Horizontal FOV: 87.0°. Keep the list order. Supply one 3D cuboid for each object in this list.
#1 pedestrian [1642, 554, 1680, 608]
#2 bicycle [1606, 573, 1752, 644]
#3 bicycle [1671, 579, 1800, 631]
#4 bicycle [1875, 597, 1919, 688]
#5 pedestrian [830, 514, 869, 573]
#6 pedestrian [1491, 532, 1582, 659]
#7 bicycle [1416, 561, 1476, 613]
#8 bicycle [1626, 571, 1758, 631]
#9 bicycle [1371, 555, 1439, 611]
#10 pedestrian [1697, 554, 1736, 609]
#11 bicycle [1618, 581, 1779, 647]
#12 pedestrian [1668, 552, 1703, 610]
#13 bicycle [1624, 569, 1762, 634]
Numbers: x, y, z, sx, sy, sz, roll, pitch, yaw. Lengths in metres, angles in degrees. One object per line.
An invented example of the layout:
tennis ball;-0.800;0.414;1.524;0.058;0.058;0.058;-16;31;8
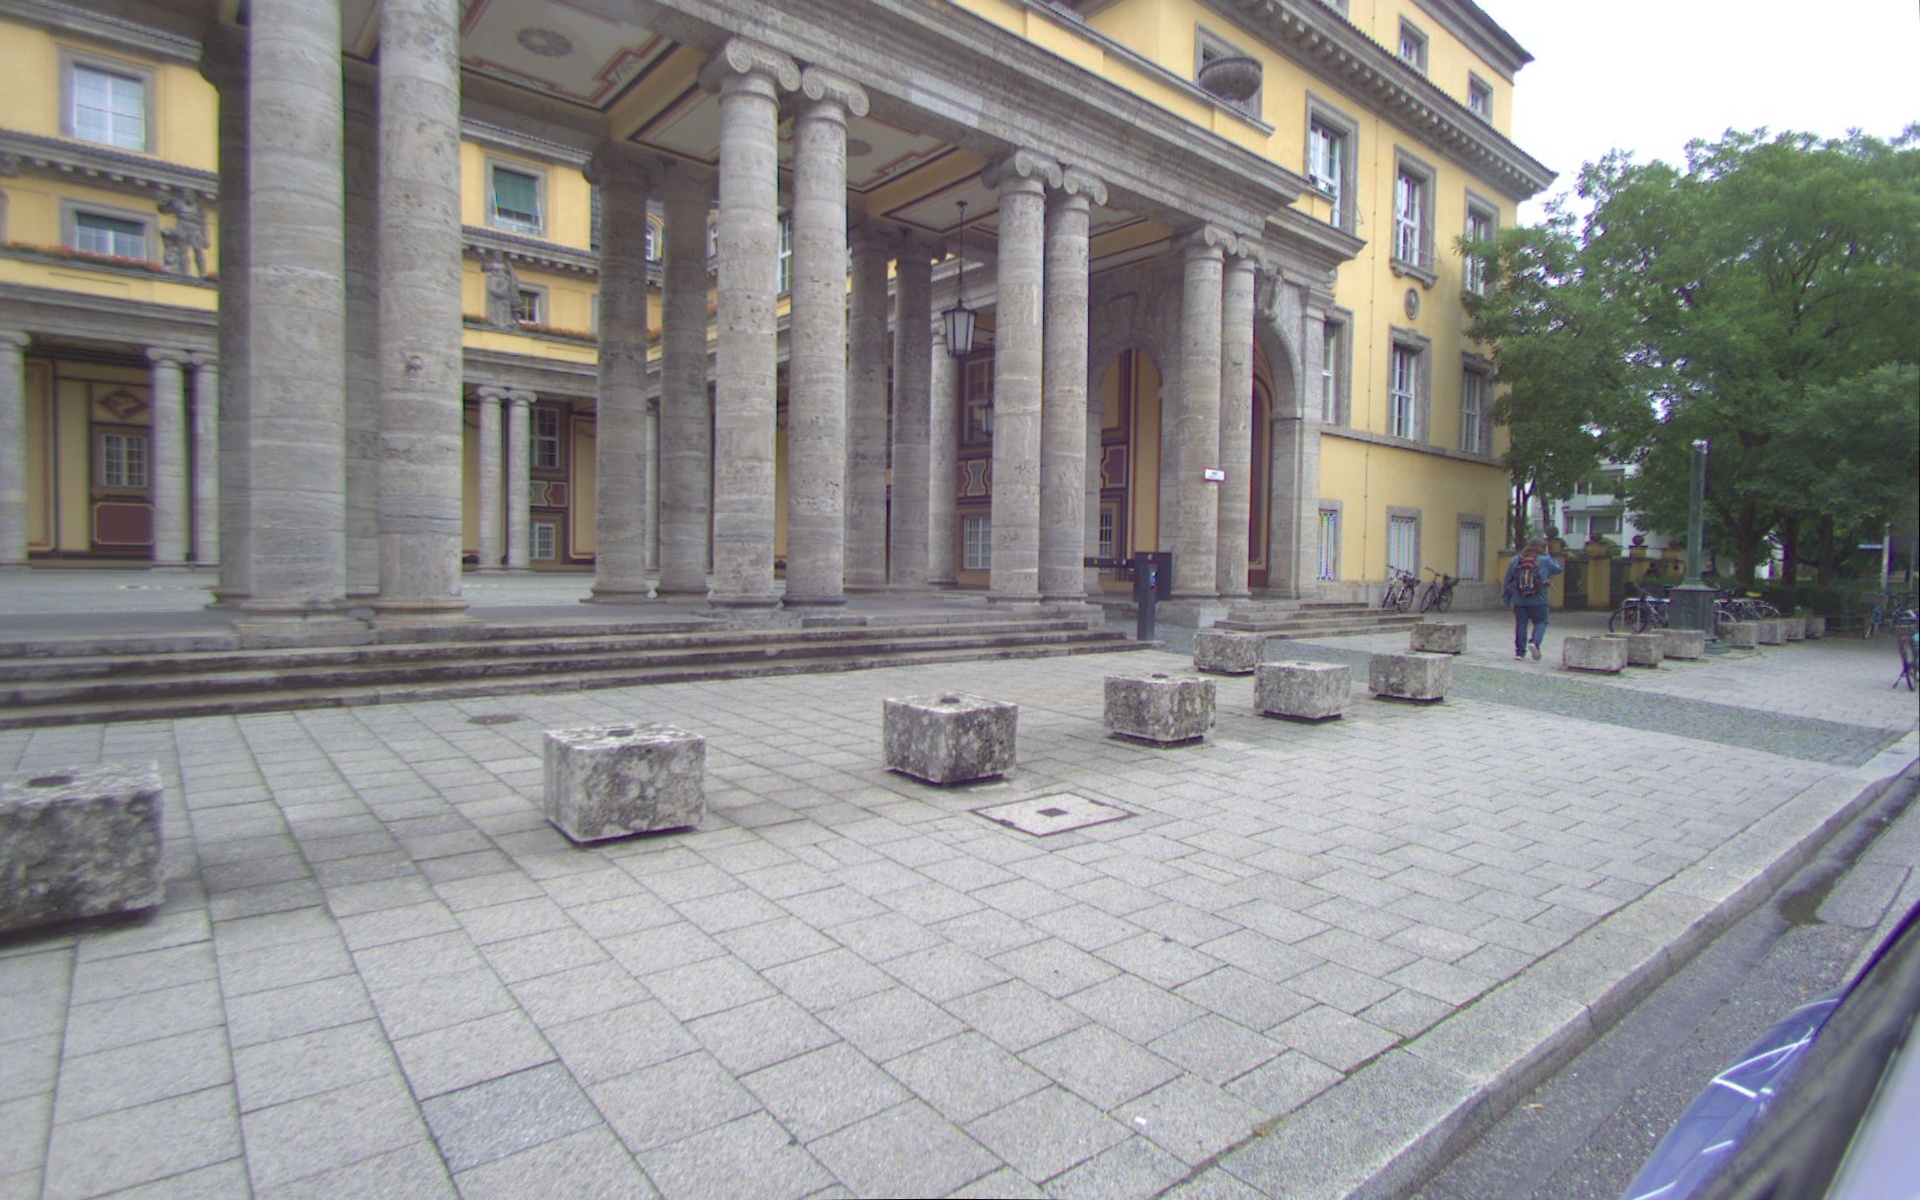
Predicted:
pedestrian;24.049;-0.662;34.724;0.827;1.764;0.741;-1;6;-40
bicycle;14.438;0.135;20.369;2.255;1.107;0.593;9;8;39
bicycle;18.008;0.096;23.565;0.591;1.023;2.264;1;4;-37
bicycle;13.280;0.559;13.891;2.225;1.113;0.762;-1;5;-41
pedestrian;-3.339;-1.698;30.571;0.964;1.742;0.808;-1;0;-22
pedestrian;8.376;-0.094;14.712;1.037;1.767;0.789;-1;3;-41
bicycle;12.850;-0.352;26.708;2.127;1.323;0.601;-1;3;-41
bicycle;16.197;-0.006;22.433;2.256;1.035;0.593;9;8;39
bicycle;11.098;-0.436;25.192;2.224;1.323;0.601;-1;3;-41
pedestrian;26.994;-0.685;36.105;1.017;1.887;0.782;-1;6;-41
bicycle;13.951;0.227;19.173;2.362;1.018;0.668;6;5;42
pedestrian;24.493;-0.659;34.184;0.806;1.887;0.659;-1;6;-40
bicycle;15.662;0.008;21.676;2.256;1.071;0.593;9;8;39
